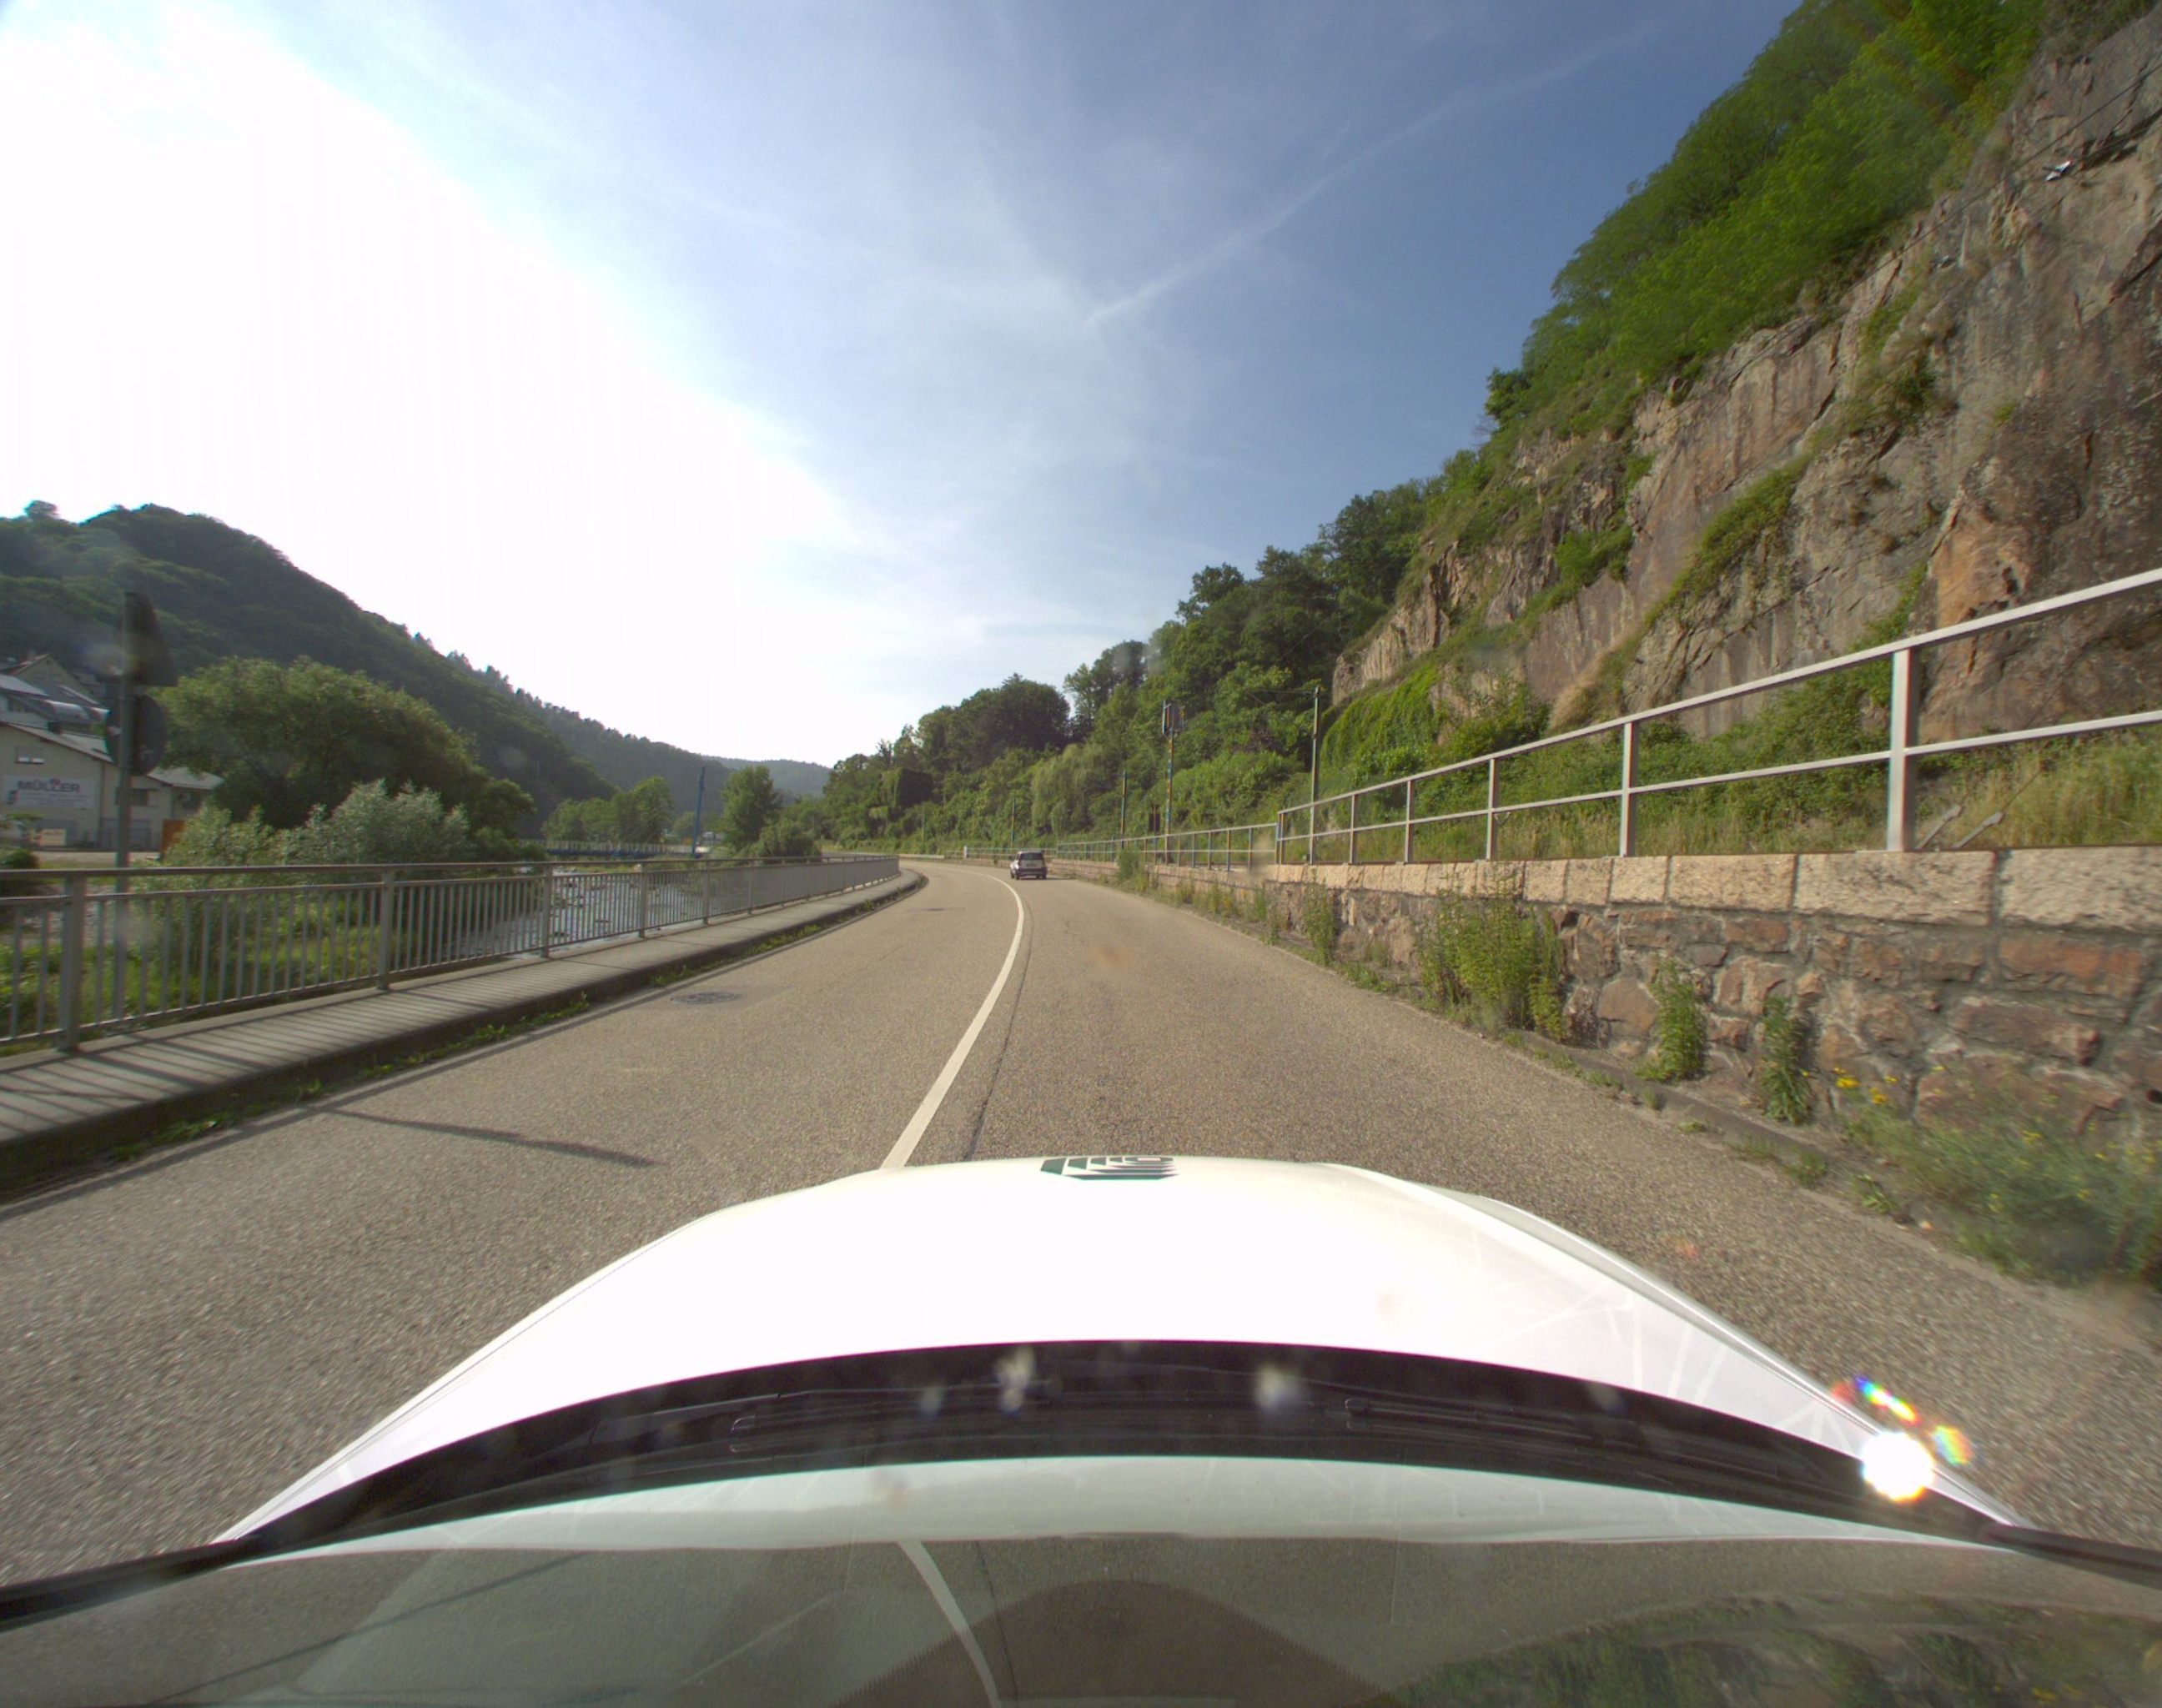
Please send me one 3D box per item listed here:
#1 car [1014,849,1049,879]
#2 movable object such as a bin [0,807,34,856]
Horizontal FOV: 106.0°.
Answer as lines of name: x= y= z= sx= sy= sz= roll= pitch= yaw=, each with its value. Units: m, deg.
car: x=-2.904 y=0.568 z=47.387 sx=1.870 sy=1.656 sz=3.992 roll=0 pitch=0 yaw=-6
movable object such as a bin: x=-77.194 y=-2.036 z=54.210 sx=3.508 sy=3.219 sz=8.201 roll=1 pitch=-8 yaw=25
